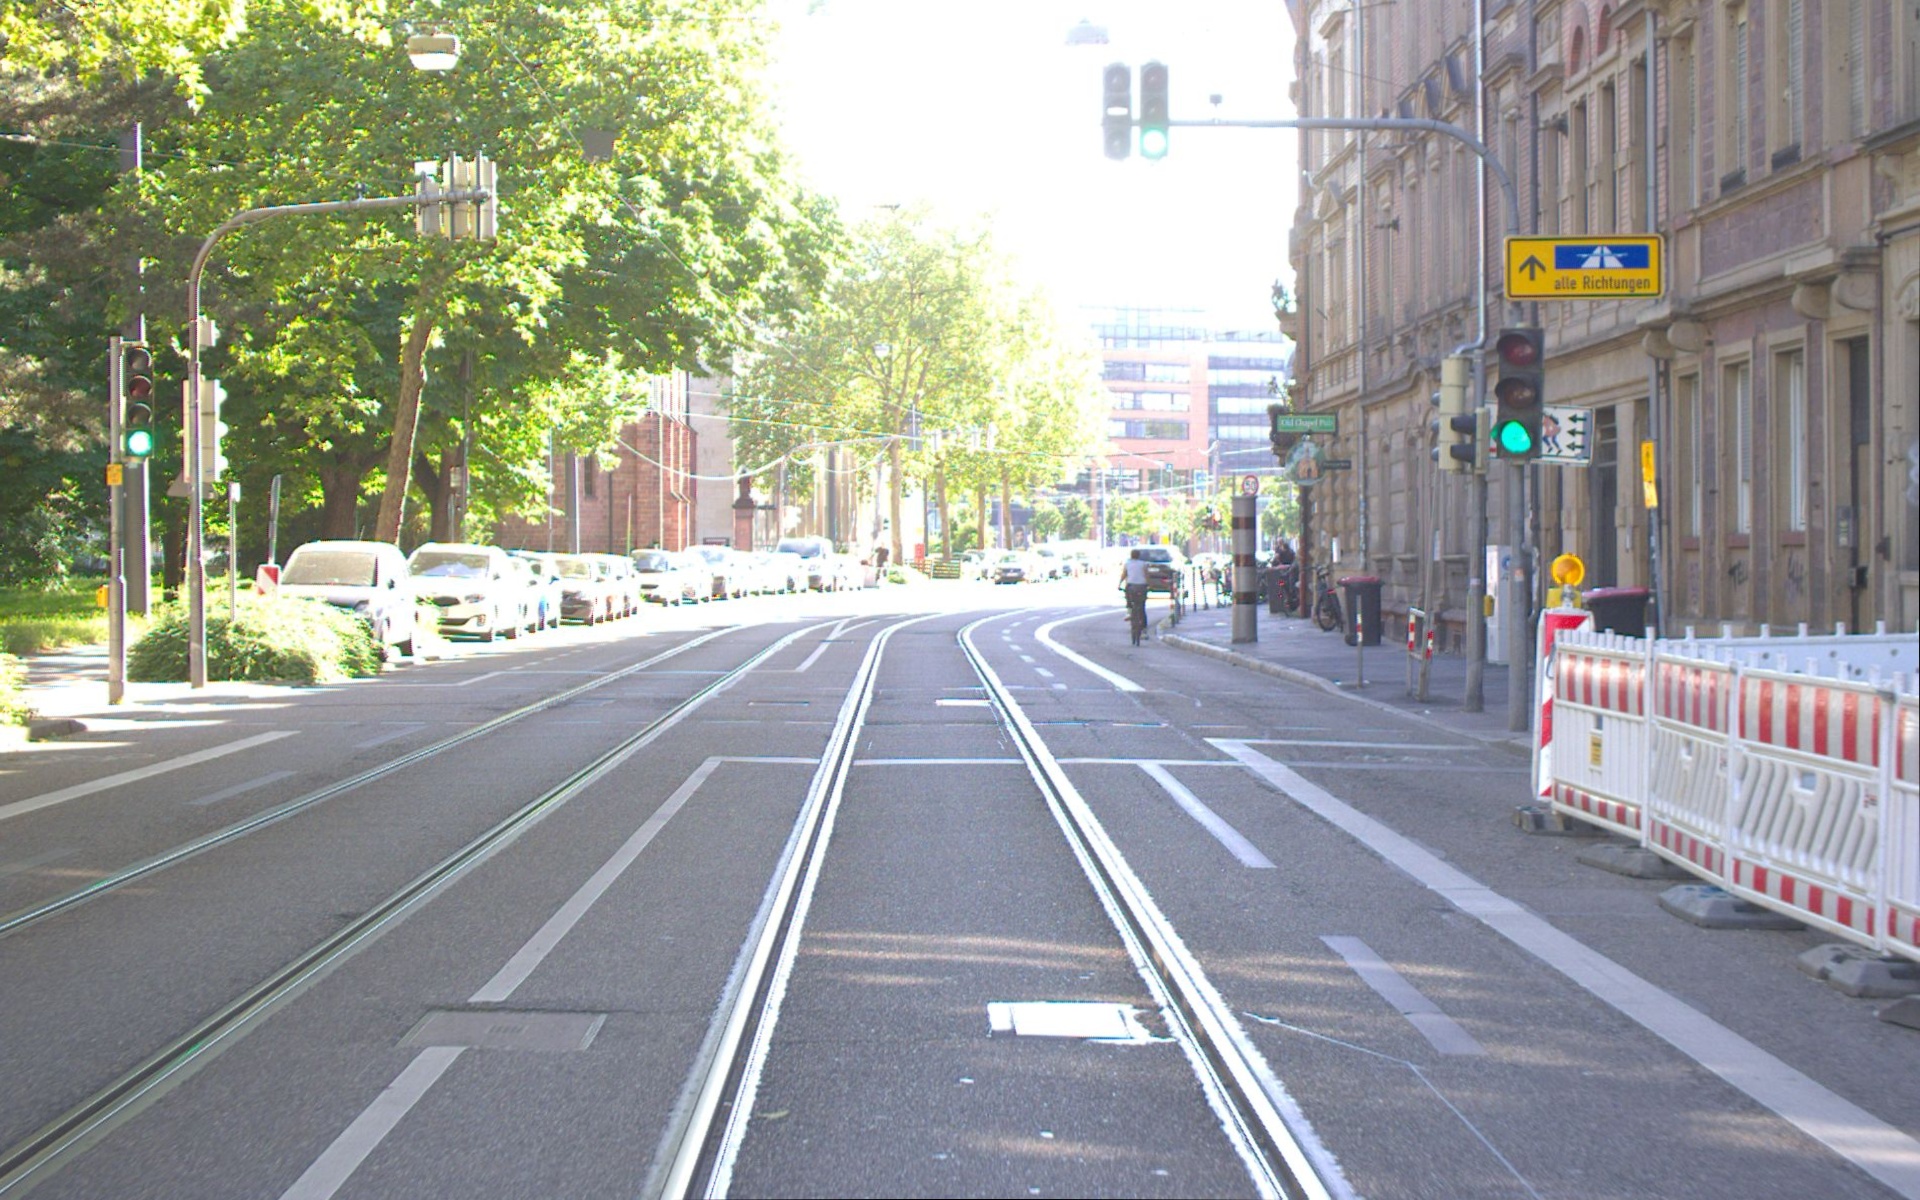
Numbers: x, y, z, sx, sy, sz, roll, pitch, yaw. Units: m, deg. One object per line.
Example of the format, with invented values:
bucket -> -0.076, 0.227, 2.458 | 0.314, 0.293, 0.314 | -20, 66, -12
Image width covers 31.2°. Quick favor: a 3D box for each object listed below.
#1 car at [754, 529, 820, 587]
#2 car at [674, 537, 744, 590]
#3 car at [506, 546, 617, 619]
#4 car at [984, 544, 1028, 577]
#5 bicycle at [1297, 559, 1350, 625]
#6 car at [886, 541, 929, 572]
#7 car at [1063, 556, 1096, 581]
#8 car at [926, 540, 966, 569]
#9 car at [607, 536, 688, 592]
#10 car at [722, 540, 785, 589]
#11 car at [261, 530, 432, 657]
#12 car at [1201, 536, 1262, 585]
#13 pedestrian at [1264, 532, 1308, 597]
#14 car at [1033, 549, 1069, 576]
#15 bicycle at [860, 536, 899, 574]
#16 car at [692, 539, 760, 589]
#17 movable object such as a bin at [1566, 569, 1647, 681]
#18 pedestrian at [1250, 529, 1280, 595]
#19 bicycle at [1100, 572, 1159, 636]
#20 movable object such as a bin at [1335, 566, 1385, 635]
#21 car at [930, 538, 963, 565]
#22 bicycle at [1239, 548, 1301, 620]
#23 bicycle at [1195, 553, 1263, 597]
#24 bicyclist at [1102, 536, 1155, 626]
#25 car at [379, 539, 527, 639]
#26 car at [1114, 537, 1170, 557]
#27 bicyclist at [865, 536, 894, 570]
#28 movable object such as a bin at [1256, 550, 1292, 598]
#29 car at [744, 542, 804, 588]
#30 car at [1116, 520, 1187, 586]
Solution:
car -> -6.413, -1.556, 127.613 | 2.058, 2.045, 4.043 | 1, 1, 2
car -> -7.815, -1.131, 107.302 | 1.748, 1.581, 4.043 | 1, 1, 2
car -> -8.523, -0.384, 73.849 | 1.748, 1.504, 4.043 | 1, 1, 2
car -> 2.106, -1.787, 155.604 | 1.748, 1.417, 4.043 | 1, 1, 4
bicycle -> 6.281, -0.149, 59.440 | 0.639, 1.114, 2.297 | 1, 1, 0
car -> -2.514, -2.082, 165.295 | 1.748, 1.417, 4.043 | 1, 1, 4
car -> 6.895, -1.821, 198.114 | 1.748, 1.417, 4.043 | 1, 1, 4
car -> -0.714, -2.343, 176.652 | 1.748, 1.417, 4.043 | 1, 1, 4
car -> -8.783, -1.005, 96.793 | 1.748, 1.490, 4.043 | 1, 1, 2
car -> -7.031, -1.211, 117.379 | 1.748, 1.581, 4.043 | 1, 1, 2
car -> -8.475, -0.102, 47.730 | 1.545, 1.653, 3.762 | 1, 1, 2
car -> 10.560, -1.535, 133.930 | 2.027, 1.842, 4.298 | 1, 1, 0
pedestrian -> 9.008, -0.984, 95.067 | 1.055, 1.754, 1.332 | 1, 0, 0
car -> 4.968, -2.021, 186.418 | 1.748, 1.417, 4.043 | 1, 1, 4
bicycle -> -3.449, -1.927, 147.741 | 1.234, 1.567, 2.896 | 1, 1, 7
car -> -7.616, -1.174, 112.176 | 1.748, 1.581, 4.043 | 1, 1, 2
movable object such as a bin -> 6.563, 0.248, 34.927 | 0.620, 1.106, 0.781 | 1, 0, -3
pedestrian -> 8.712, -1.084, 98.080 | 0.784, 1.882, 0.970 | 1, 0, 7
bicycle -> 2.955, 0.060, 60.170 | 0.856, 1.084, 2.487 | 1, 1, -1
movable object such as a bin -> 6.179, 0.005, 53.110 | 0.673, 1.032, 0.813 | 0, 2, 0
car -> -0.815, -2.966, 211.640 | 1.748, 1.619, 4.043 | 1, 1, 4
bicycle -> 6.705, -0.351, 74.154 | 0.971, 1.510, 3.244 | 1, 1, 11
bicycle -> 7.025, -0.651, 89.783 | 0.641, 1.114, 2.292 | 2, 1, 36
bicyclist -> 2.947, -0.333, 60.149 | 0.838, 1.552, 0.965 | 1, 0, -1
car -> -8.551, -0.197, 58.234 | 1.748, 1.602, 4.043 | 1, 1, 2
car -> 13.689, -3.976, 259.002 | 4.032, 1.417, 1.753 | 1, 0, 10
bicyclist -> -3.455, -2.016, 147.707 | 1.078, 1.423, 1.146 | 1, 0, 8
movable object such as a bin -> 7.253, -0.607, 79.398 | 0.695, 1.089, 0.742 | 1, 0, -3
car -> -6.630, -1.252, 122.573 | 1.748, 1.581, 4.043 | 1, 1, 2
car -> 6.061, -1.488, 109.200 | 1.993, 2.007, 4.000 | 1, 1, 0
